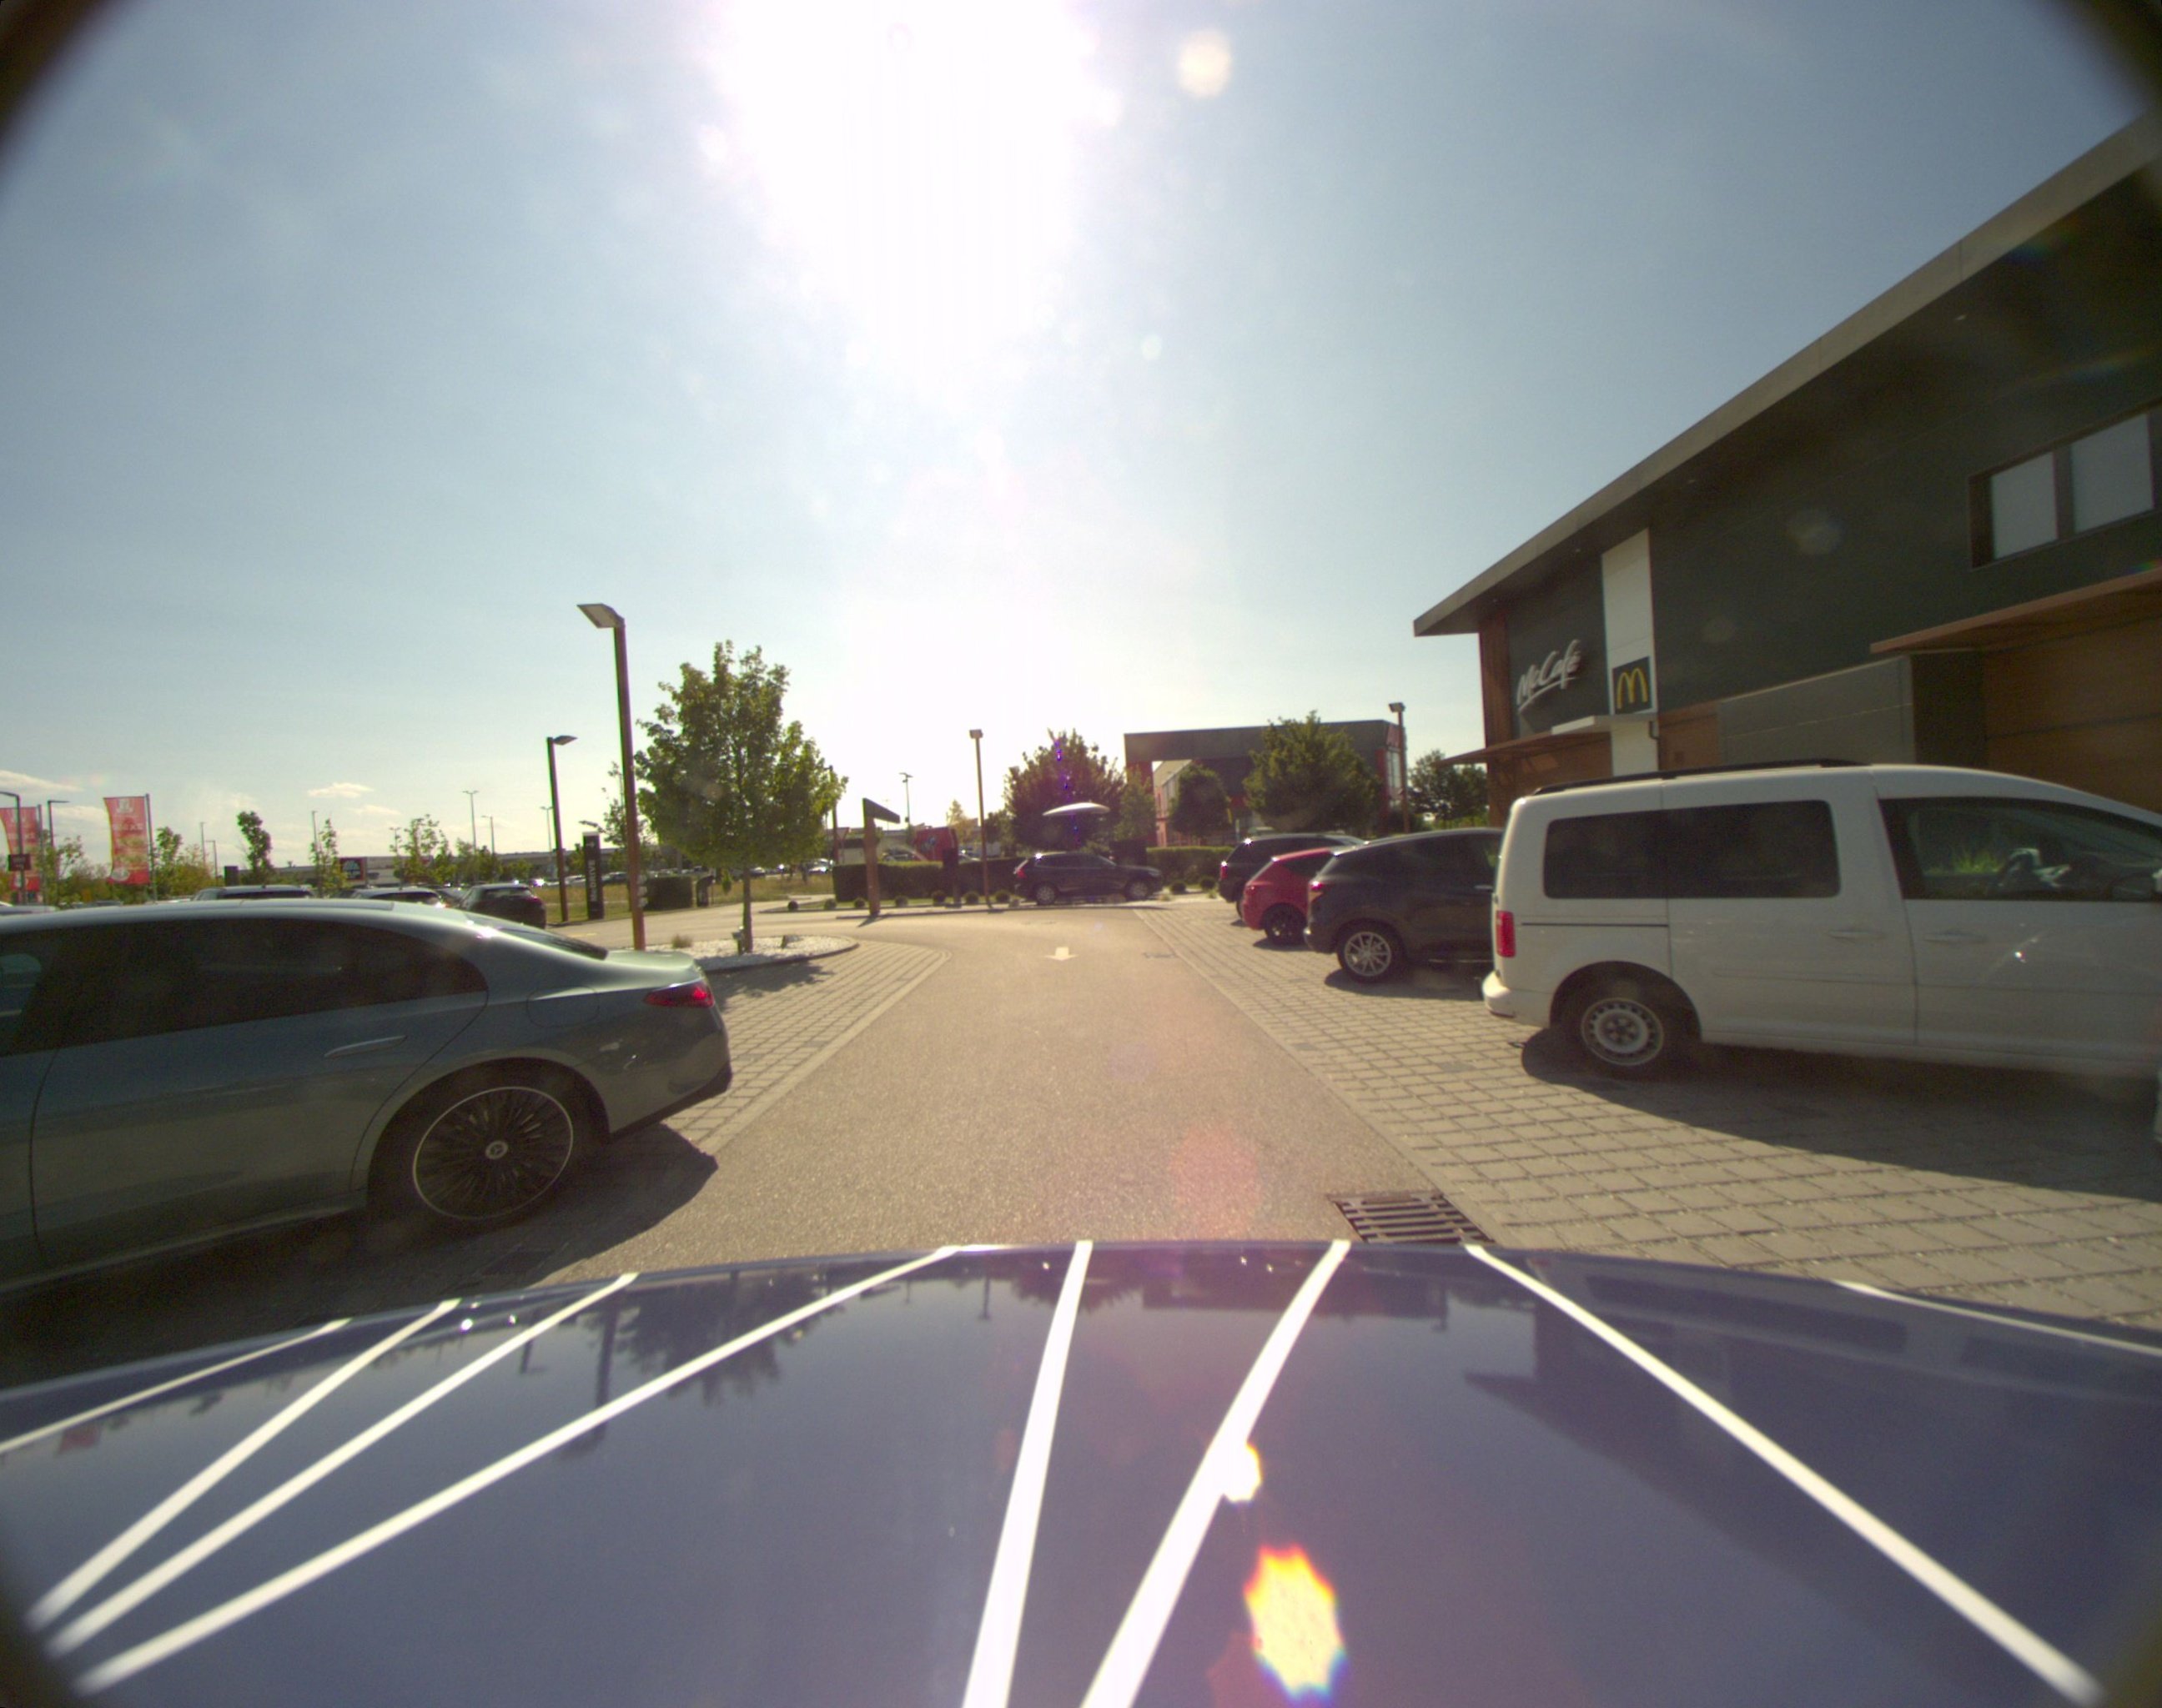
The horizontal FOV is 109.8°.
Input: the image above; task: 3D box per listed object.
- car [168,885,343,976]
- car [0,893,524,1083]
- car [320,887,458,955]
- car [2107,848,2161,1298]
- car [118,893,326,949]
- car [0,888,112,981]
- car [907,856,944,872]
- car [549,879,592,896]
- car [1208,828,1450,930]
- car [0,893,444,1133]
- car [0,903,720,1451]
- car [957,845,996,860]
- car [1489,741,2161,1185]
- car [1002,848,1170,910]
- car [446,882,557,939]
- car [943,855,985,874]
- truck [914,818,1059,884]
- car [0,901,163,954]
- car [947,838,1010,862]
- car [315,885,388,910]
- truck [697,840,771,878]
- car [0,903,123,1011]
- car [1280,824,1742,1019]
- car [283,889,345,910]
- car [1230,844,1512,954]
[{"bbox_3d":[-17.130,1.502,15.724,4.044,1.547,1.810,-3,1,34],"label":"car"},{"bbox_3d":[-8.884,1.295,8.610,3.911,1.418,1.702,-3,0,-43],"label":"car"},{"bbox_3d":[-17.477,1.623,19.142,4.075,1.414,1.801,-3,1,37],"label":"car"},{"bbox_3d":[4.579,0.669,1.057,3.406,1.473,1.571,-3,0,36],"label":"car"},{"bbox_3d":[-28.075,2.132,25.073,1.886,1.390,4.157,-3,0,7],"label":"car"},{"bbox_3d":[-22.271,1.677,14.405,2.071,1.739,4.367,-3,0,0],"label":"car"},{"bbox_3d":[-18.548,1.145,90.630,1.889,1.718,4.264,-3,0,31],"label":"car"},{"bbox_3d":[-51.106,3.345,76.121,1.537,1.547,3.226,-3,0,26],"label":"car"},{"bbox_3d":[4.710,0.481,14.677,4.029,1.696,1.678,-3,1,37],"label":"car"},{"bbox_3d":[-8.215,1.239,6.187,4.425,1.502,1.978,-3,1,-45],"label":"car"},{"bbox_3d":[-4.148,1.137,2.916,4.551,1.502,1.882,-3,1,-45],"label":"car"},{"bbox_3d":[-11.200,-0.174,81.561,3.906,1.334,1.665,-3,0,-1],"label":"car"},{"bbox_3d":[4.805,0.462,4.243,4.134,1.910,1.761,-3,1,39],"label":"car"},{"bbox_3d":[0.140,0.756,24.198,5.062,1.620,1.924,-3,0,-2],"label":"car"},{"bbox_3d":[-17.233,1.614,22.548,3.765,1.414,1.917,-3,0,43],"label":"car"},{"bbox_3d":[-11.720,1.013,76.331,3.998,1.718,1.893,-3,1,-5],"label":"car"},{"bbox_3d":[-6.161,-0.199,50.863,9.124,3.844,3.210,-3,1,-1],"label":"truck"},{"bbox_3d":[-35.522,2.545,26.716,1.685,1.445,3.757,-3,0,7],"label":"car"},{"bbox_3d":[-11.337,-0.440,84.468,6.568,2.231,2.300,-3,1,-1],"label":"car"},{"bbox_3d":[-53.809,3.189,56.100,3.771,1.551,1.802,-3,1,6],"label":"car"},{"bbox_3d":[-32.642,0.500,71.342,7.545,3.333,2.426,-2,1,33],"label":"truck"},{"bbox_3d":[-16.857,1.564,12.030,4.669,1.402,1.715,-3,1,42],"label":"car"},{"bbox_3d":[4.322,0.612,8.089,3.834,1.622,1.761,-3,1,33],"label":"car"},{"bbox_3d":[-64.392,3.830,63.814,3.993,1.455,1.762,-3,0,13],"label":"car"},{"bbox_3d":[4.405,0.690,11.685,3.763,1.435,1.678,-3,0,28],"label":"car"}]
